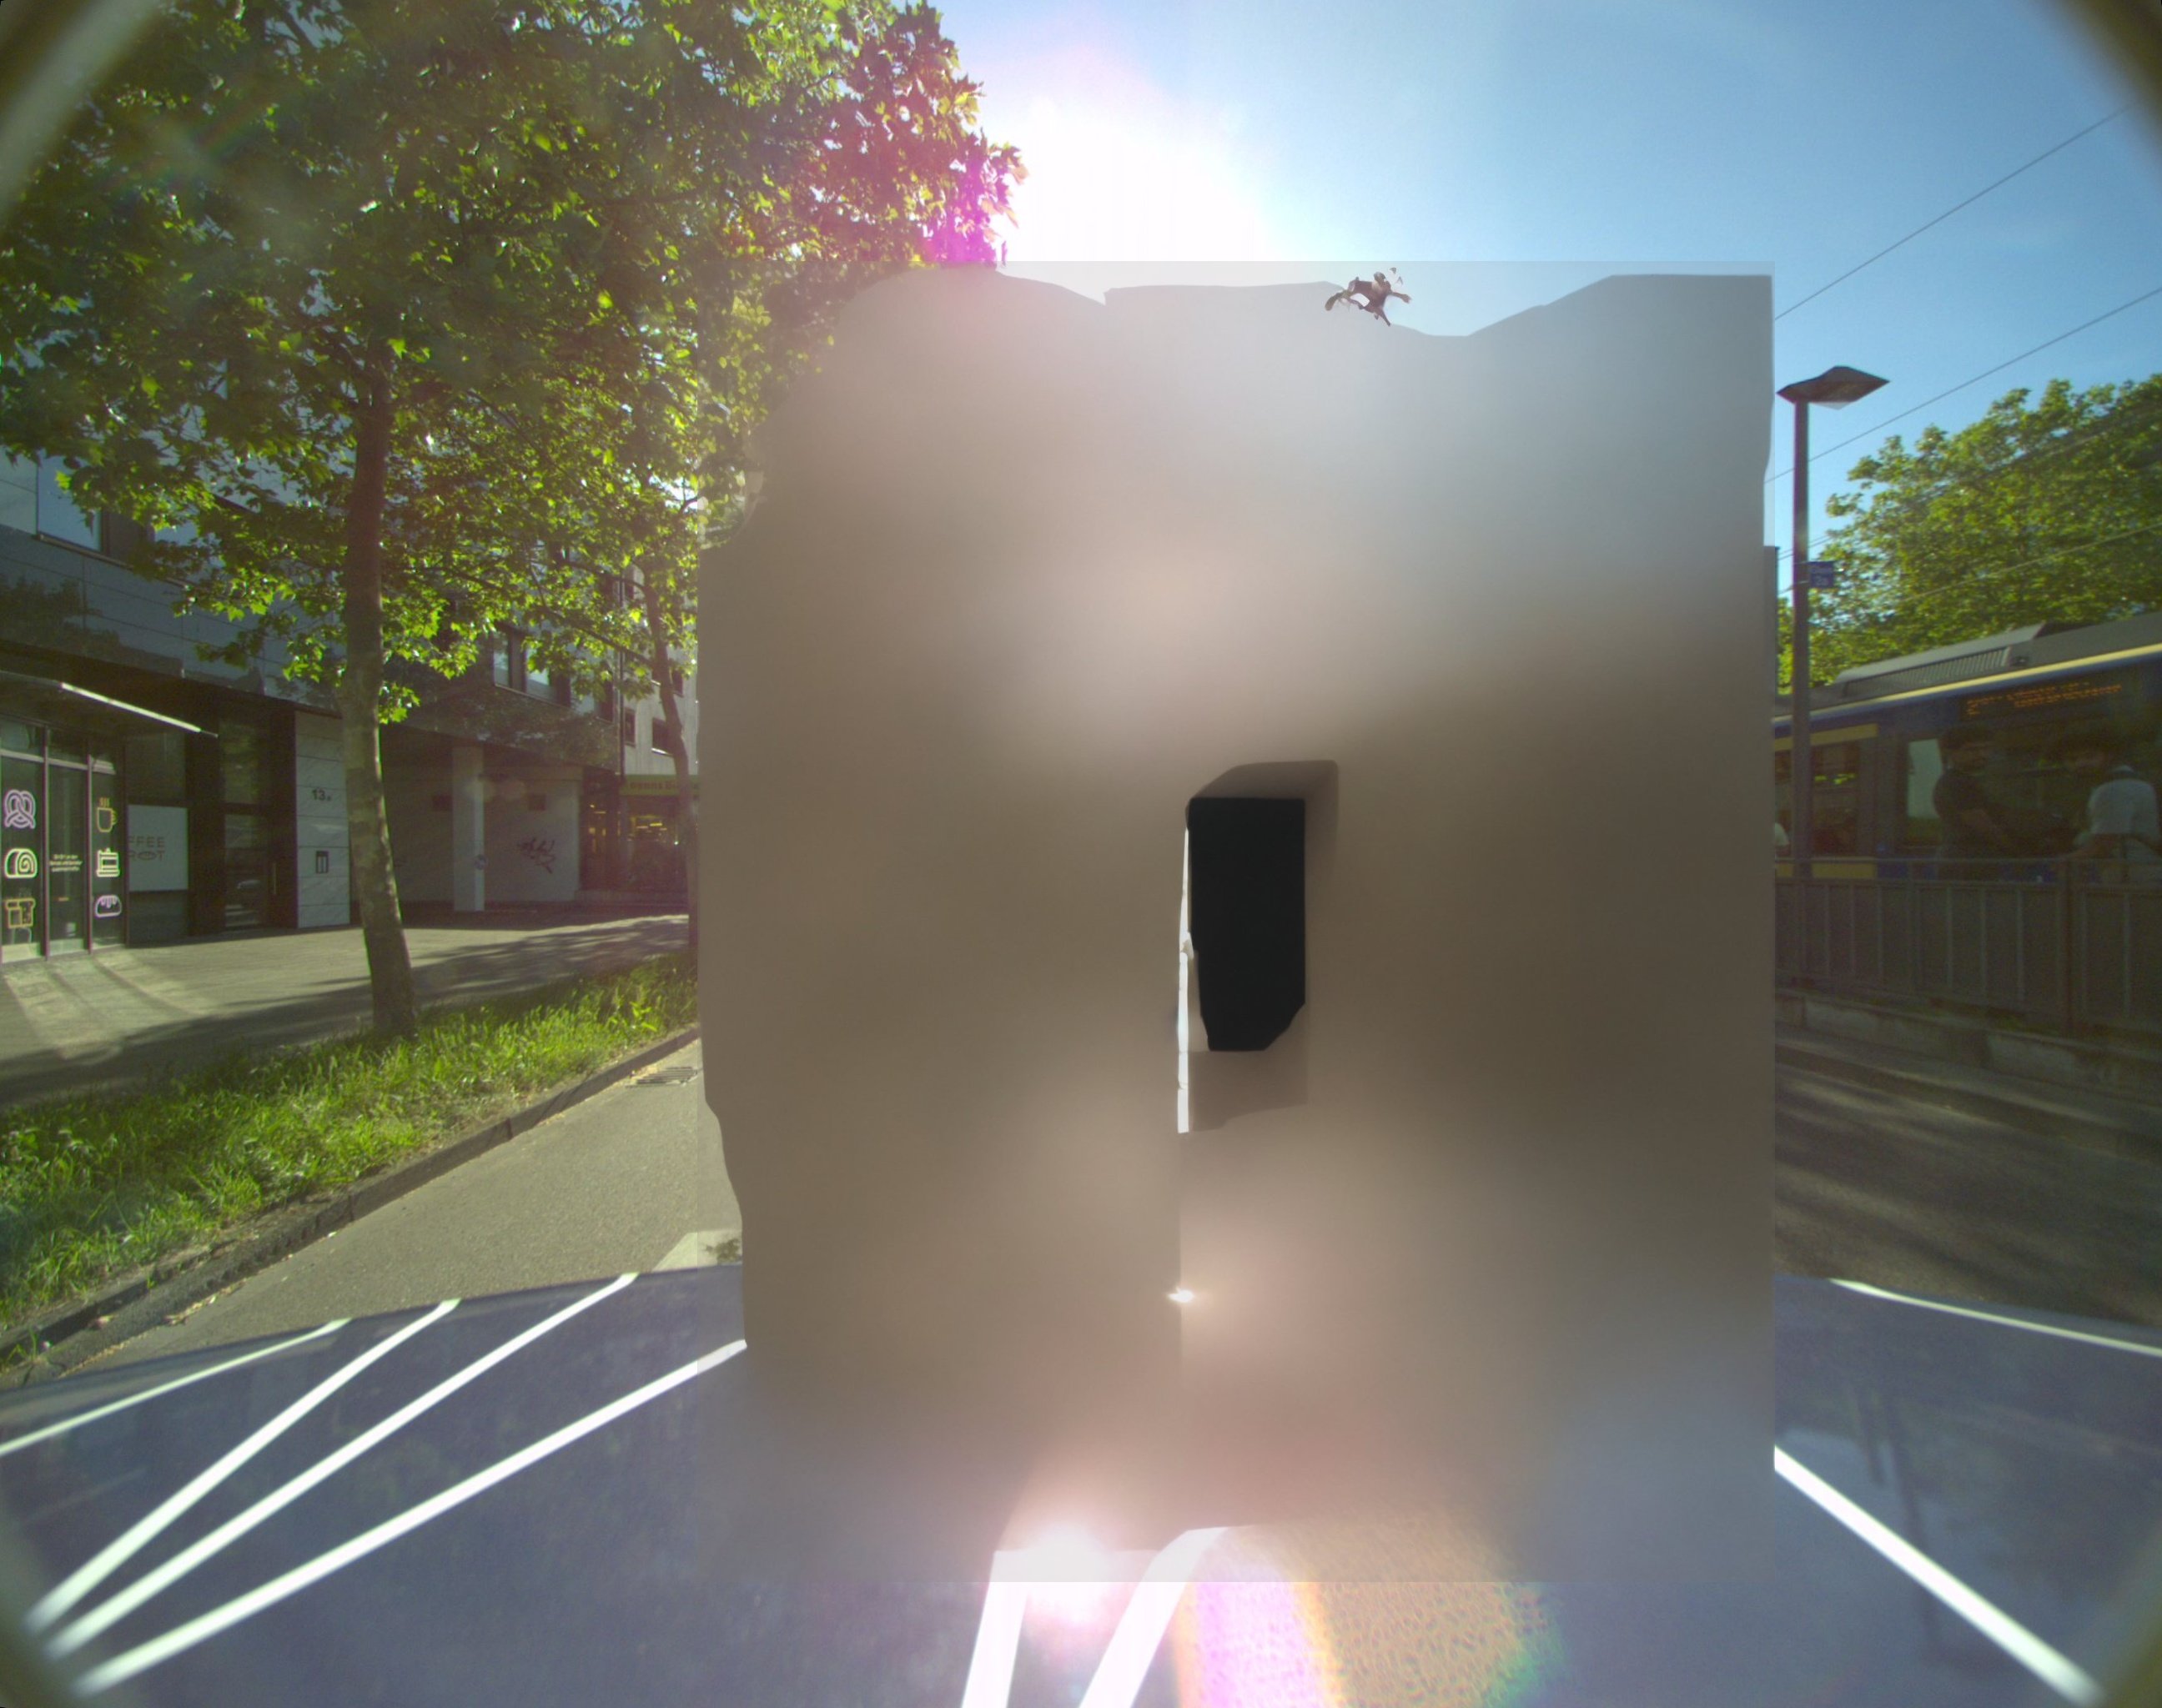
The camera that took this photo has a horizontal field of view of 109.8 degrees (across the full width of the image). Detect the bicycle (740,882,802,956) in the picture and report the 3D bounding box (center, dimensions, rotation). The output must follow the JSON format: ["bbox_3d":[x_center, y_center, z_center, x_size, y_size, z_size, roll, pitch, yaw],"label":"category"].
[{"bbox_3d":[-5.400,1.086,13.330,0.791,1.126,1.844,0,0,-15],"label":"bicycle"}]

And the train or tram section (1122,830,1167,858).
[{"bbox_3d":[6.254,-0.917,77.722,2.570,2.516,15.068,-1,0,-3],"label":"train or tram section"}]

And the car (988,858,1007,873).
[{"bbox_3d":[-8.236,1.152,75.325,1.630,1.433,3.929,1,0,-3],"label":"car"}]

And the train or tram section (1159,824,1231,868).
[{"bbox_3d":[10.003,-0.644,69.376,2.879,3.414,18.270,-2,0,-3],"label":"train or tram section"}]

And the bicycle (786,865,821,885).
[{"bbox_3d":[-13.643,1.020,37.354,1.648,0.910,0.587,1,-2,24],"label":"bicycle"}]

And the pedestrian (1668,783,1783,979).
[{"bbox_3d":[5.822,0.234,6.891,0.507,1.692,0.611,0,1,-7],"label":"pedestrian"}]

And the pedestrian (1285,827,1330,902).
[{"bbox_3d":[5.351,0.252,17.978,0.778,1.742,0.723,0,0,-6],"label":"pedestrian"}]

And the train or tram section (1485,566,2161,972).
[{"bbox_3d":[10.037,-0.752,7.438,2.922,3.241,15.885,-2,1,-3],"label":"train or tram section"}]

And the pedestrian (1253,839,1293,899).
[{"bbox_3d":[4.876,0.382,19.363,0.778,1.501,0.751,0,0,-6],"label":"pedestrian"}]

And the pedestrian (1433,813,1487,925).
[{"bbox_3d":[5.933,0.227,11.903,0.516,1.698,0.621,0,1,-3],"label":"pedestrian"}]

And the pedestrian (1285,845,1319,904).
[{"bbox_3d":[4.916,0.441,16.910,0.535,1.292,0.604,0,0,-6],"label":"pedestrian"}]

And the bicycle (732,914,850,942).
[{"bbox_3d":[-5.151,1.318,13.649,1.613,0.351,1.388,0,0,-3],"label":"bicycle"}]

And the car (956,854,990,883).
[{"bbox_3d":[-6.987,0.918,49.338,1.769,1.781,4.392,0,0,-2],"label":"car"}]

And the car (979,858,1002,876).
[{"bbox_3d":[-7.717,1.099,64.913,1.678,1.430,3.688,2,1,-4],"label":"car"}]

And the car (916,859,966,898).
[{"bbox_3d":[-5.964,1.000,32.732,1.569,1.541,3.999,-1,0,-2],"label":"car"}]

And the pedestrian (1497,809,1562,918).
[{"bbox_3d":[6.935,0.143,11.763,0.620,1.640,0.622,0,1,-7],"label":"pedestrian"}]

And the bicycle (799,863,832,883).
[{"bbox_3d":[-14.429,1.020,41.238,1.700,1.049,0.587,1,-1,24],"label":"bicycle"}]

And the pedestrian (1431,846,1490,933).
[{"bbox_3d":[5.283,0.485,10.602,0.546,1.185,0.530,0,0,-3],"label":"pedestrian"}]

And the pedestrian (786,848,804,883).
[{"bbox_3d":[-14.411,0.557,38.258,0.614,1.705,0.611,6,-1,-27],"label":"pedestrian"}]

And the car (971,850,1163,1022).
[{"bbox_3d":[-0.240,0.819,9.875,1.914,1.695,4.272,-2,0,-3],"label":"car"}]

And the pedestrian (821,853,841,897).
[{"bbox_3d":[-9.962,0.816,30.302,0.561,1.734,0.878,0,0,-3],"label":"pedestrian"}]

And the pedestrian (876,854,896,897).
[{"bbox_3d":[-7.841,0.851,30.575,0.561,1.694,1.051,0,0,-3],"label":"pedestrian"}]

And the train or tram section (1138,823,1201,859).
[{"bbox_3d":[6.975,-0.915,62.375,2.570,2.549,15.670,-1,0,-3],"label":"train or tram section"}]

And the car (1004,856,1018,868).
[{"bbox_3d":[-9.795,1.078,106.509,1.839,1.556,4.272,-2,0,-3],"label":"car"}]

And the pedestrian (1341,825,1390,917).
[{"bbox_3d":[5.079,0.298,13.599,0.662,1.624,0.570,0,1,-2],"label":"pedestrian"}]

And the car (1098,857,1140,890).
[{"bbox_3d":[1.760,0.894,36.173,1.707,1.407,3.875,-2,0,-1],"label":"car"}]

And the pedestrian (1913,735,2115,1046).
[{"bbox_3d":[5.508,0.201,4.513,0.549,1.724,0.539,0,1,-7],"label":"pedestrian"}]

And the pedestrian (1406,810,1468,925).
[{"bbox_3d":[5.324,0.198,11.388,0.662,1.686,0.570,0,1,-2],"label":"pedestrian"}]

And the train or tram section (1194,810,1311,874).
[{"bbox_3d":[10.858,-0.641,51.109,2.857,3.414,18.209,-2,0,-3],"label":"train or tram section"}]

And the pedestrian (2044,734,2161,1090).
[{"bbox_3d":[5.451,0.282,3.868,0.538,1.724,0.551,0,1,35],"label":"pedestrian"}]

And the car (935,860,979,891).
[{"bbox_3d":[-6.444,1.074,39.774,1.766,1.409,4.698,-1,0,-3],"label":"car"}]

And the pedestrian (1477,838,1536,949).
[{"bbox_3d":[5.158,0.465,9.233,0.417,1.308,0.507,0,1,-5],"label":"pedestrian"}]

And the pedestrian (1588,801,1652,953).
[{"bbox_3d":[6.258,0.260,8.847,0.506,1.692,0.612,0,1,25],"label":"pedestrian"}]

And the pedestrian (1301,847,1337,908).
[{"bbox_3d":[4.956,0.482,15.848,0.535,1.239,0.604,0,0,-5],"label":"pedestrian"}]

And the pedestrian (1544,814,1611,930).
[{"bbox_3d":[6.671,0.236,10.227,0.546,1.510,0.530,0,1,-3],"label":"pedestrian"}]

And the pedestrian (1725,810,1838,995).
[{"bbox_3d":[6.969,0.463,7.583,0.555,1.760,0.611,0,1,-7],"label":"pedestrian"}]

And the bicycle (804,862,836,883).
[{"bbox_3d":[-14.521,1.019,42.201,1.700,1.049,0.587,2,0,24],"label":"bicycle"}]

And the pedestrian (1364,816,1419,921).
[{"bbox_3d":[5.116,0.239,12.551,0.662,1.686,0.570,0,1,-2],"label":"pedestrian"}]

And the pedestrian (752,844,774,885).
[{"bbox_3d":[-13.126,0.422,31.403,0.559,1.668,0.882,2,0,-3],"label":"pedestrian"}]

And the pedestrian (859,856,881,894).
[{"bbox_3d":[-9.184,0.899,33.146,0.699,1.603,0.868,1,0,-1],"label":"pedestrian"}]
